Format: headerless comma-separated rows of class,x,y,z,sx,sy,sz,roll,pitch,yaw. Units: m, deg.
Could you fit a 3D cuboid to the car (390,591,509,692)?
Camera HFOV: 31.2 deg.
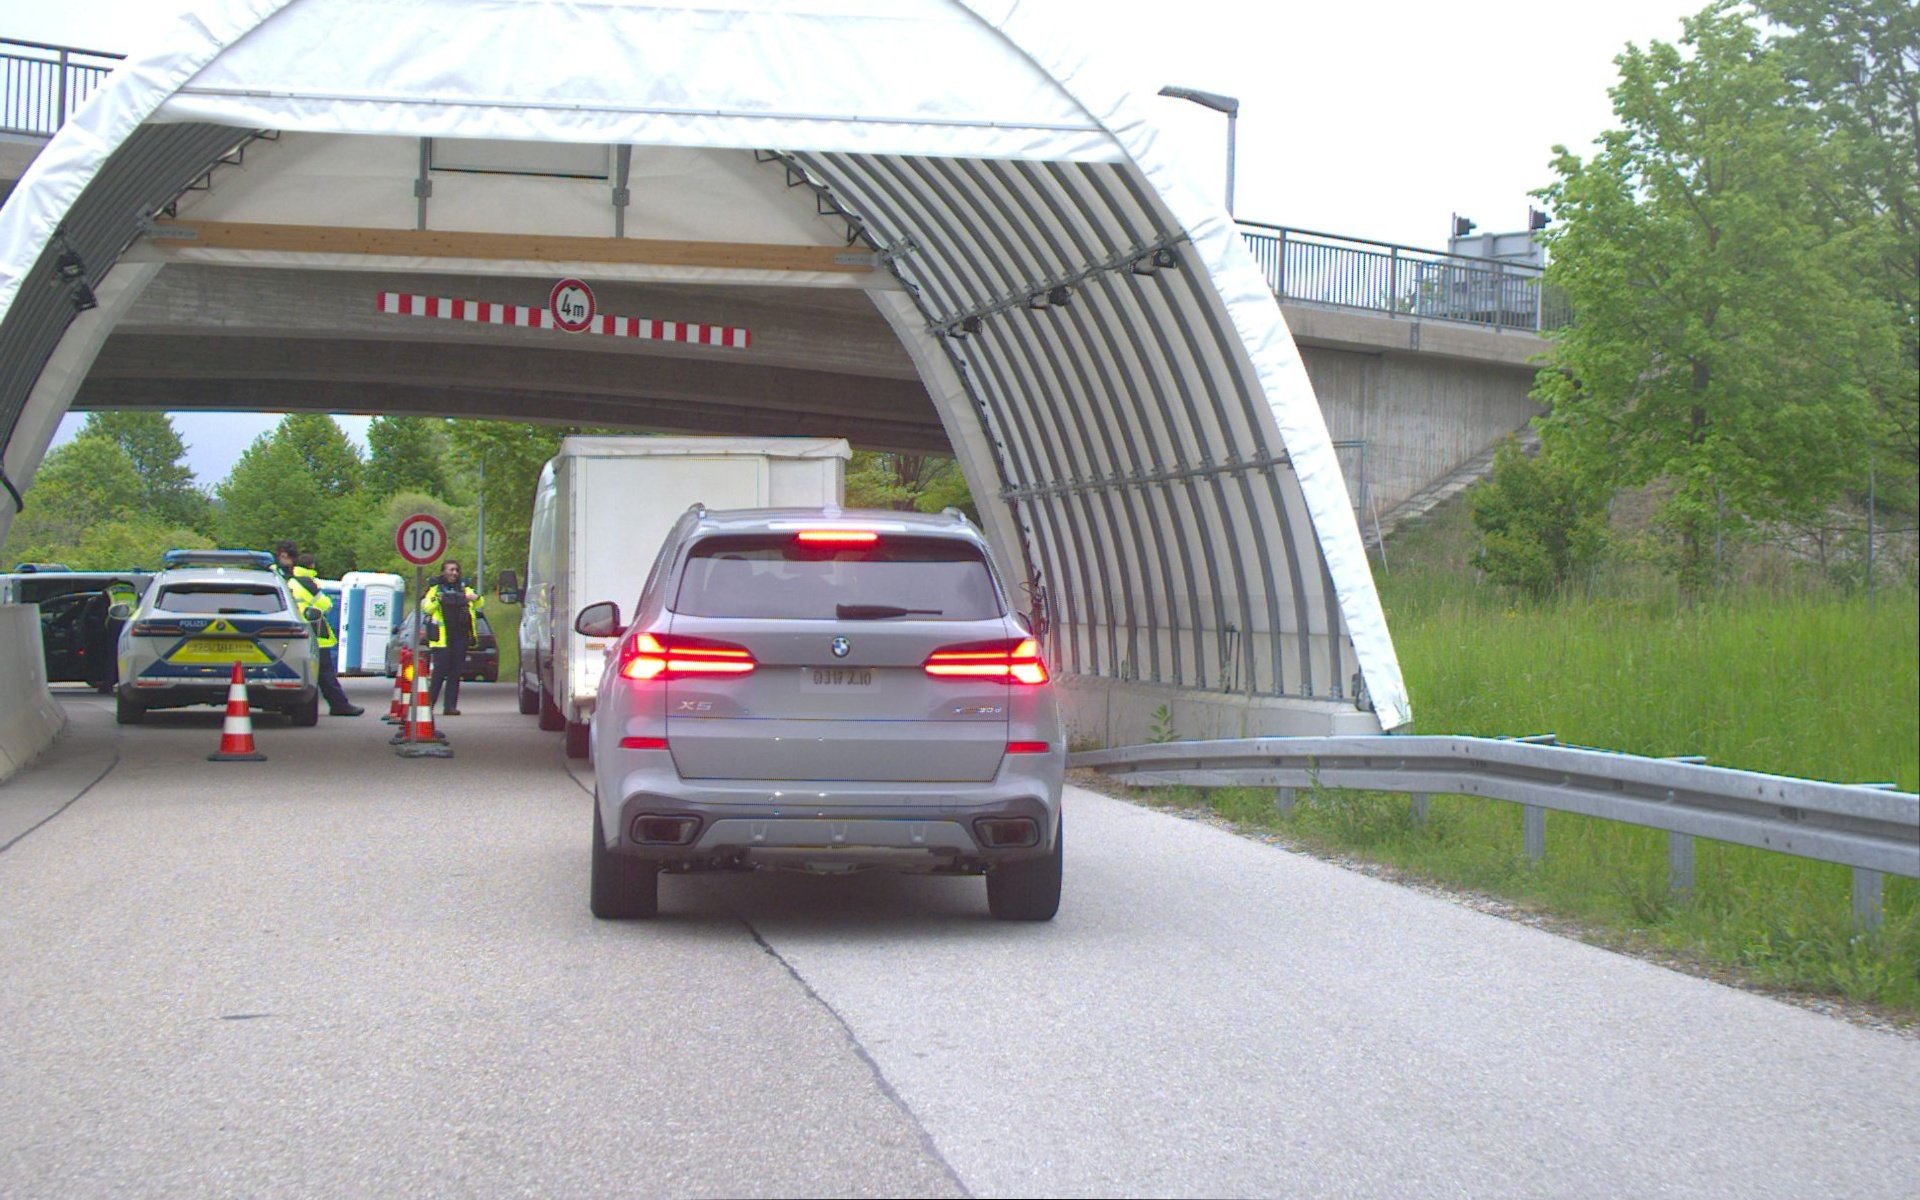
car,-9.785,0.759,65.640,1.703,1.848,4.001,0,0,-16

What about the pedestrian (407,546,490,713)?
pedestrian,-5.496,0.312,36.937,0.605,1.769,0.648,0,0,45

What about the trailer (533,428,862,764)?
trailer,-2.314,0.014,28.287,2.278,2.422,6.818,0,-1,-8

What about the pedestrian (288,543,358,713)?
pedestrian,-6.708,0.294,36.197,0.720,1.769,0.690,0,0,-11

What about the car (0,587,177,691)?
car,-12.592,0.540,49.171,1.515,1.437,3.315,0,0,-37

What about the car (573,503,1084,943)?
car,-0.665,0.495,15.478,1.993,1.714,4.000,0,0,-4

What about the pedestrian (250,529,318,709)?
pedestrian,-7.325,0.202,37.253,0.720,1.939,0.690,0,0,-11

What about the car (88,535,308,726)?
car,-7.439,0.277,33.753,1.993,1.766,3.766,0,0,-12

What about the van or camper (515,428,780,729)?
van or camper,-3.250,-0.161,34.617,2.156,2.754,5.872,0,-1,-10

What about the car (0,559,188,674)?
car,-14.845,0.261,56.266,3.987,1.848,1.709,0,0,4

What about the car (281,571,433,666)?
car,-13.214,0.394,75.143,1.993,2.007,4.000,0,0,-30
